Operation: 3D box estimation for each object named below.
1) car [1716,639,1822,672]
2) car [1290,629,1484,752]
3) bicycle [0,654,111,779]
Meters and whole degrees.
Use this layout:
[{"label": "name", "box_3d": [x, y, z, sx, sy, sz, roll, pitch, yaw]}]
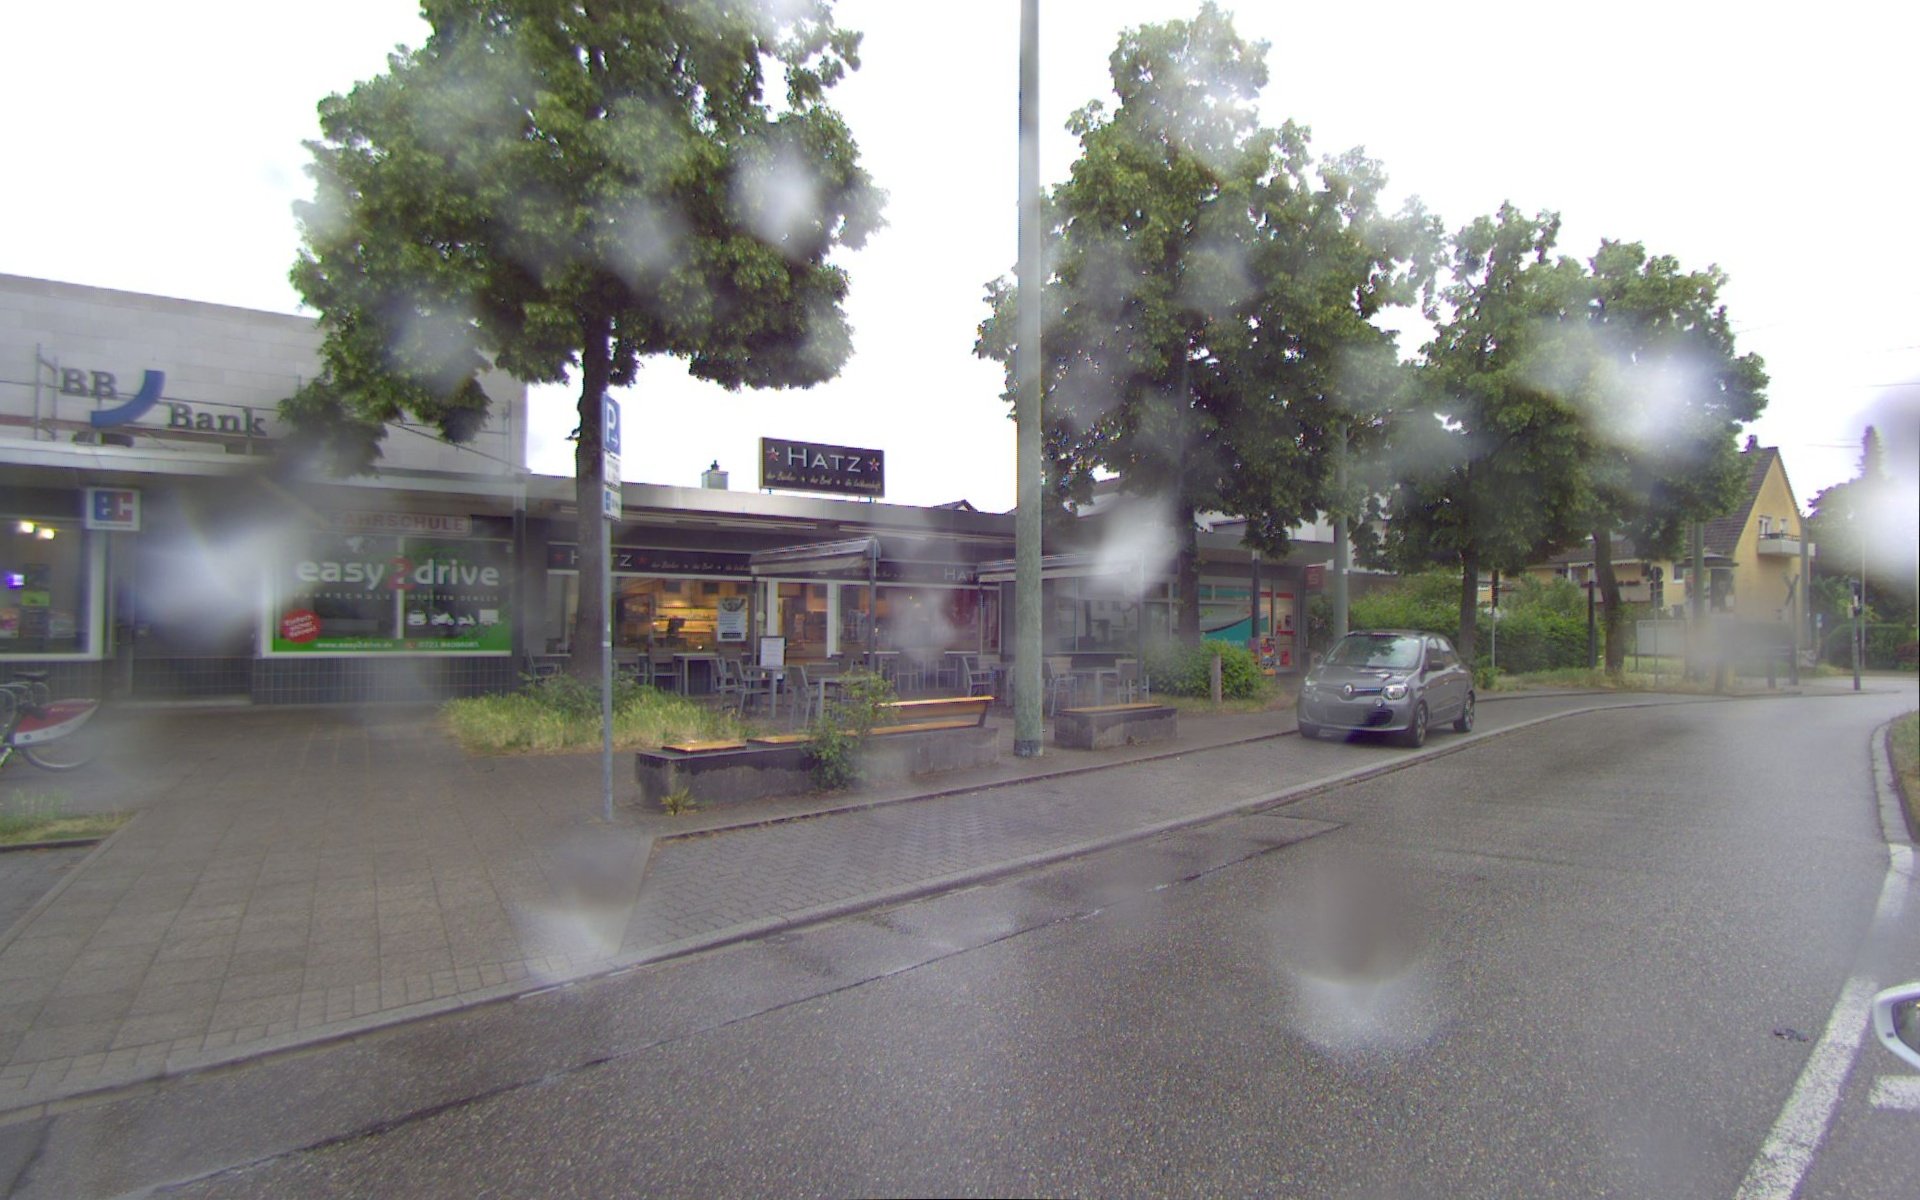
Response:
[{"label": "car", "box_3d": [41.965, 2.868, 52.184, 1.815, 1.476, 3.960, 2, 0, -35]}, {"label": "car", "box_3d": [6.384, 1.228, 14.823, 1.598, 1.516, 3.649, 2, 0, 40]}, {"label": "bicycle", "box_3d": [-8.993, 1.080, 9.263, 0.314, 1.122, 1.739, 2, 0, 43]}]
